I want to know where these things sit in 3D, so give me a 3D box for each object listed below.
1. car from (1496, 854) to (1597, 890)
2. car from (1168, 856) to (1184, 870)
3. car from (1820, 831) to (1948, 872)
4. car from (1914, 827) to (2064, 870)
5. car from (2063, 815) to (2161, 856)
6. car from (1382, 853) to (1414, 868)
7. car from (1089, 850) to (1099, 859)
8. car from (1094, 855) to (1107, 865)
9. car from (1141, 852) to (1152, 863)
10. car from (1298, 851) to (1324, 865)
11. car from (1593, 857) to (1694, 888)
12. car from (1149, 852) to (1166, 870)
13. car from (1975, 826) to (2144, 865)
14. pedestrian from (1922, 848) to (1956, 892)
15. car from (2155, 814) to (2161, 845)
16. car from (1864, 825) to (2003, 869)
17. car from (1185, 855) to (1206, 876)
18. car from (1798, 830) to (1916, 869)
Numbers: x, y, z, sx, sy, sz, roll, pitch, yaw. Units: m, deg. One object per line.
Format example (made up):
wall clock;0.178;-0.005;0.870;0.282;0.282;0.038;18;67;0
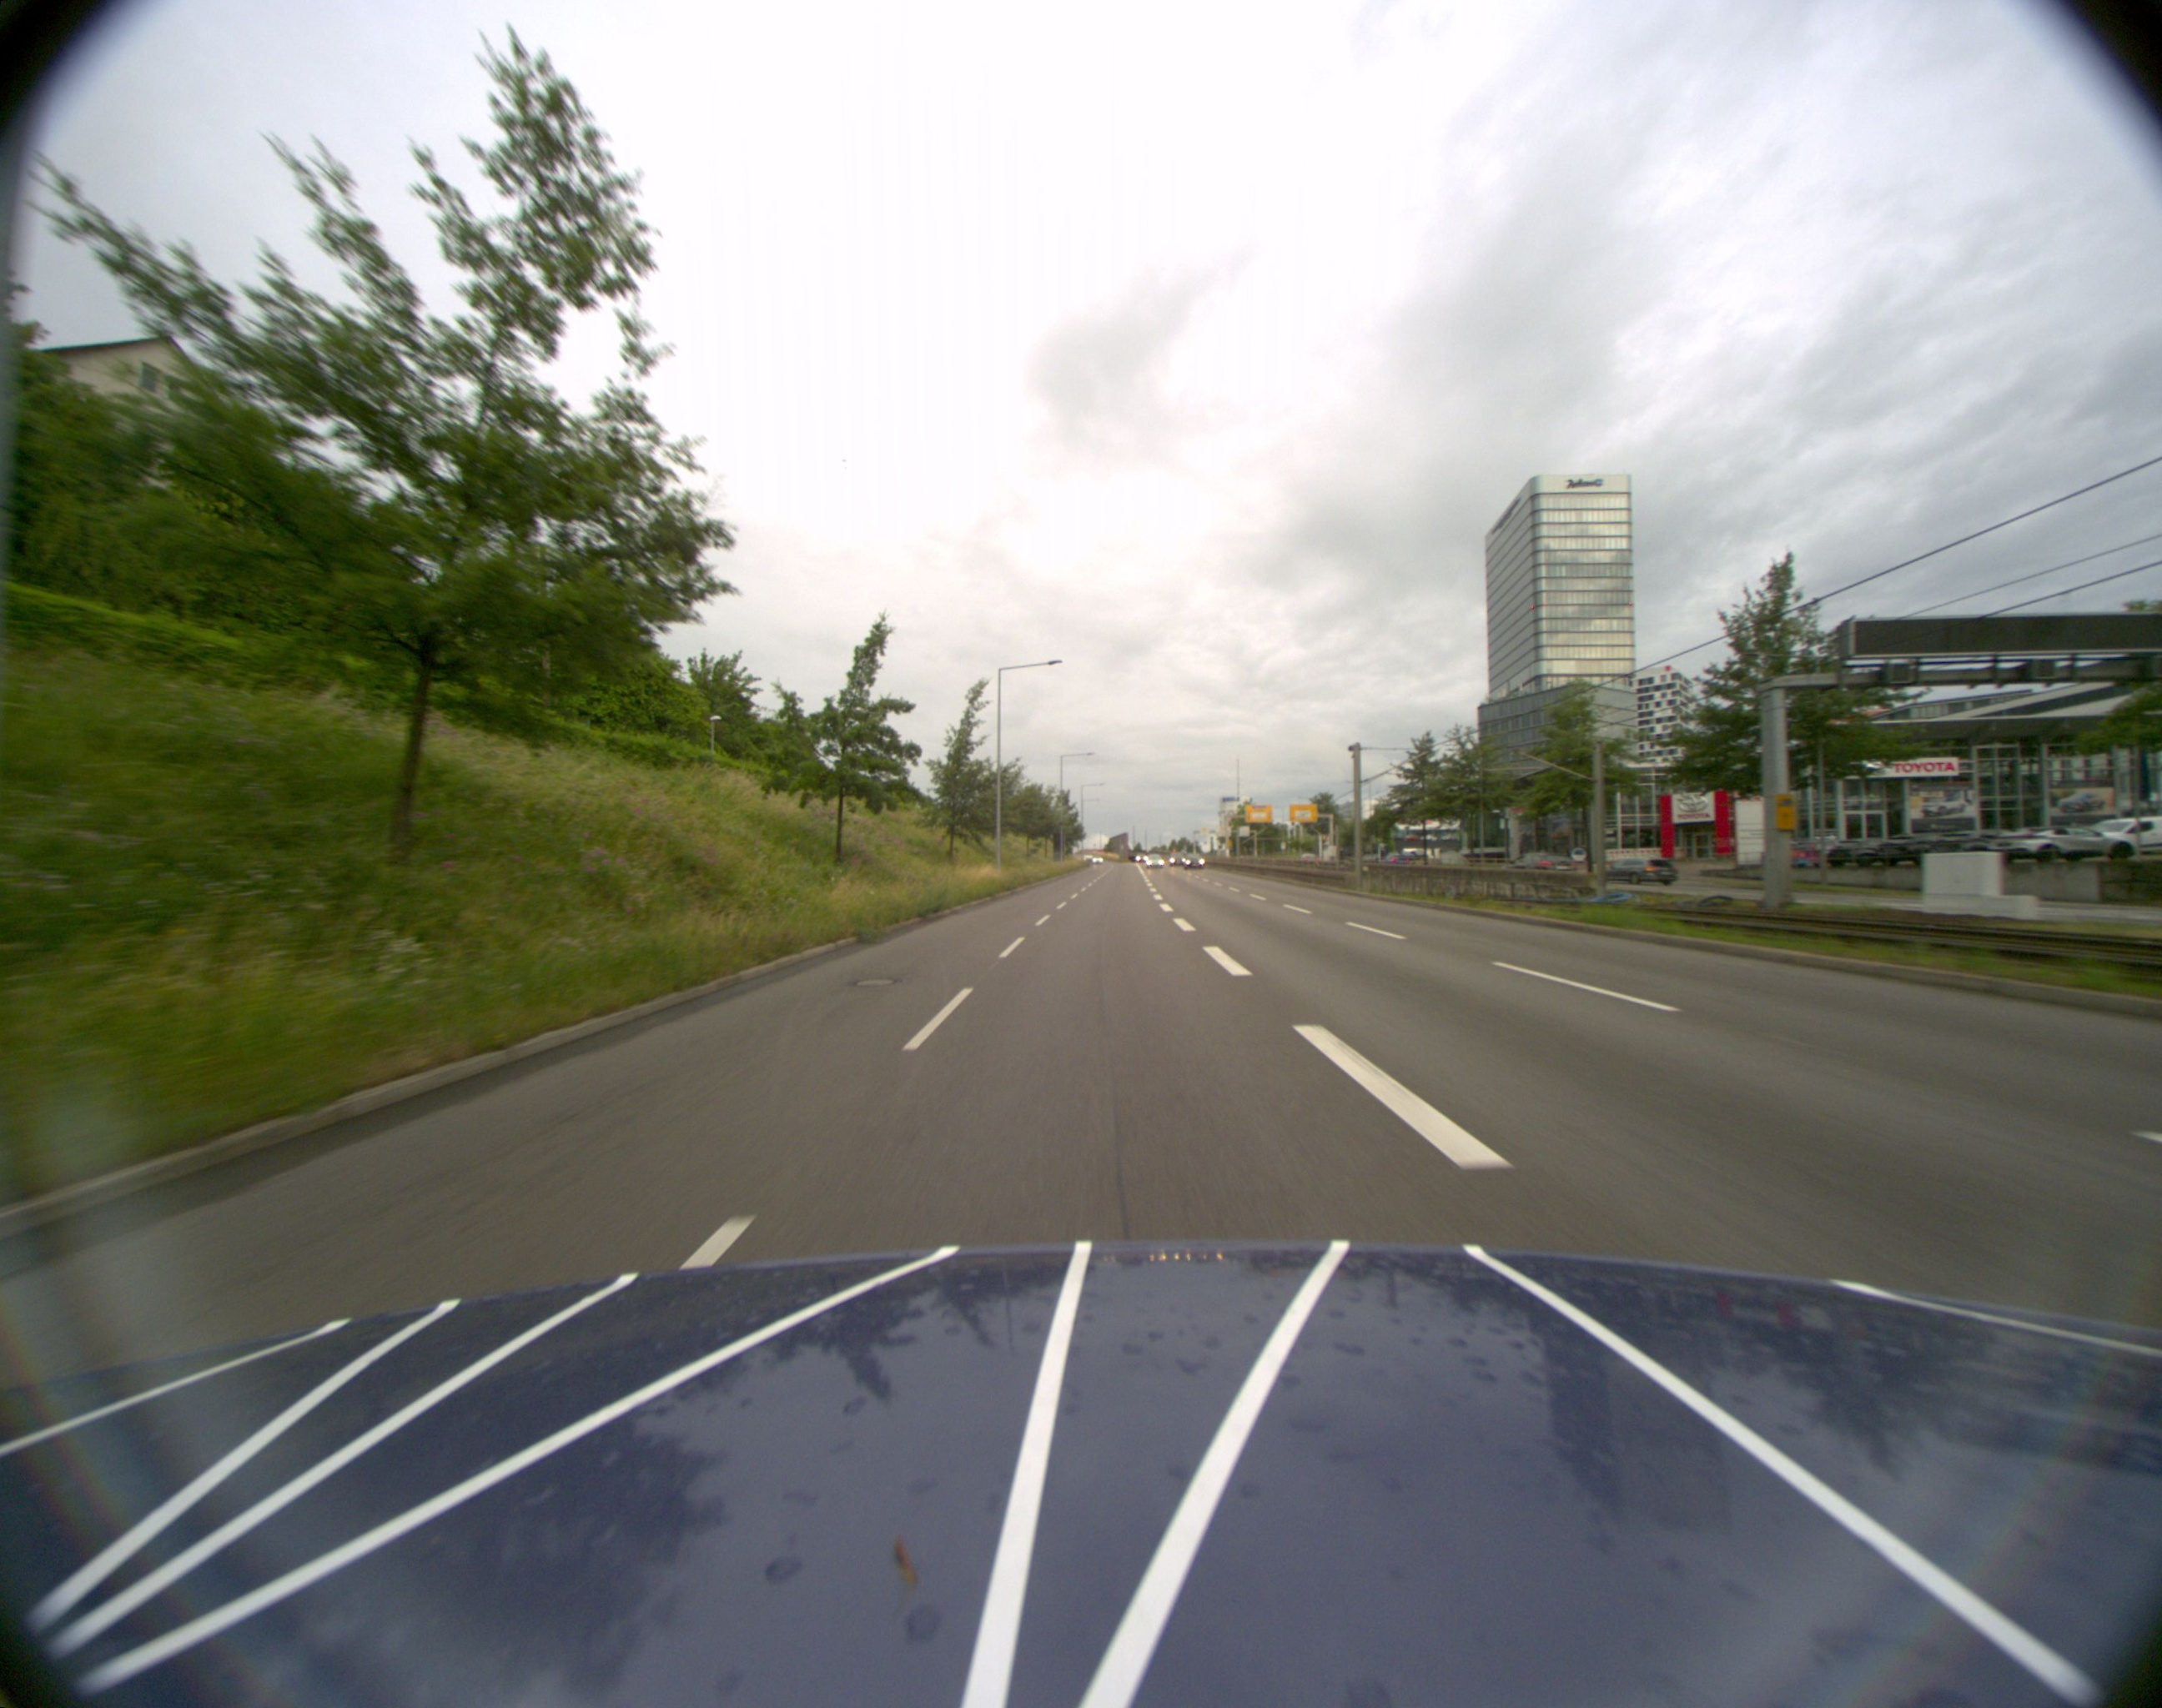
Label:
car;22.139;0.852;36.394;2.052;1.529;4.761;-2;-1;2
car;11.364;1.067;91.169;1.793;1.535;4.379;-2;1;6
car;41.583;-0.120;39.425;4.361;1.936;1.886;-2;1;7
car;41.083;-0.262;34.465;4.195;1.762;1.886;-2;1;7
car;51.017;-0.906;36.694;4.361;1.804;1.886;-2;1;7
car;30.890;0.580;74.175;1.770;1.302;4.112;-2;1;6
car;2.621;0.040;153.579;1.793;1.621;4.378;-2;1;3
car;3.407;1.049;133.075;1.793;1.621;4.379;-2;1;6
car;12.073;0.708;139.936;1.793;1.858;4.379;-2;1;6
car;25.318;0.412;83.782;1.793;1.392;4.876;-2;1;5
car;30.481;0.995;41.367;2.052;1.520;4.567;-2;-1;-1
car;8.368;0.762;83.196;1.793;1.858;4.379;-2;1;6
car;41.447;-0.358;32.292;4.361;1.495;1.886;-2;1;7
pedestrian;36.103;0.660;31.981;0.688;1.786;0.637;-2;1;5
car;56.383;-1.285;37.449;3.916;1.584;1.803;-2;1;7
car;41.459;-0.329;37.046;4.361;1.936;1.886;-2;1;7
car;10.916;1.045;72.701;1.793;1.858;4.379;-2;1;6
car;42.600;-0.258;41.806;4.362;1.936;1.885;-2;1;5
